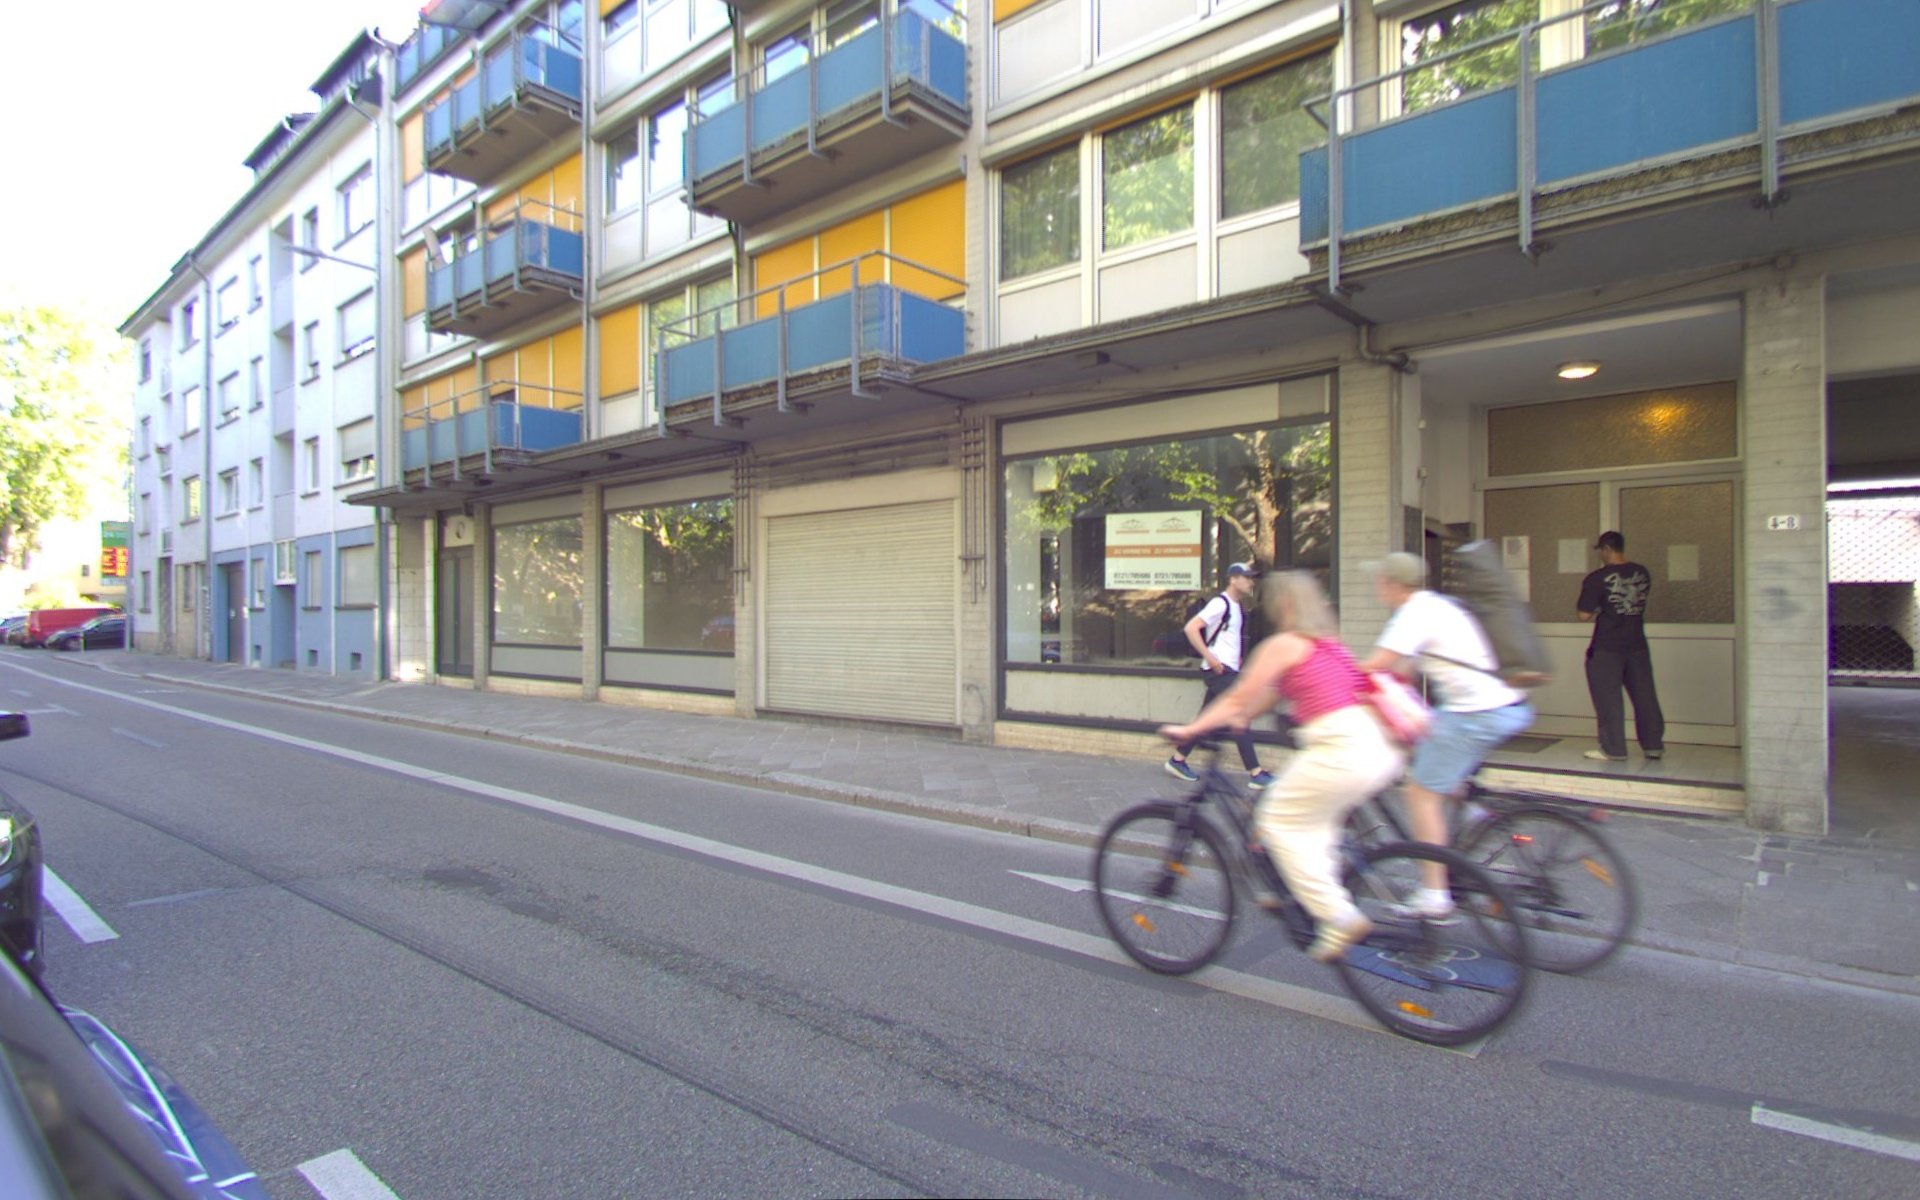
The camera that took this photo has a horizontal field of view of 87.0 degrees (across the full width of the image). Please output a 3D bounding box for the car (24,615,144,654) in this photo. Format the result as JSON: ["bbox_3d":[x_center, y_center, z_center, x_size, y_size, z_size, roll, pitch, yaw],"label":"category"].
[{"bbox_3d":[-41.627,1.615,48.162,1.999,1.703,4.093,-1,-1,41],"label":"car"}]

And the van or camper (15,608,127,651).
[{"bbox_3d":[-43.883,1.425,50.004,1.999,2.029,3.946,-1,-1,40],"label":"van or camper"}]

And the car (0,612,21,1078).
[{"bbox_3d":[-5.019,0.806,3.822,3.861,1.467,1.718,-1,-1,40],"label":"car"}]

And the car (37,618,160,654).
[{"bbox_3d":[-39.746,1.626,46.777,1.999,1.506,4.093,-1,-1,41],"label":"car"}]

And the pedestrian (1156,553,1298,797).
[{"bbox_3d":[2.116,0.560,8.041,0.879,1.813,0.593,-1,0,41],"label":"pedestrian"}]

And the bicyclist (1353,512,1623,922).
[{"bbox_3d":[2.331,0.452,4.467,0.839,1.566,0.833,-2,-1,43],"label":"bicyclist"}]

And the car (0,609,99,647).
[{"bbox_3d":[-55.397,1.666,61.145,1.999,2.210,4.927,-1,-1,41],"label":"car"}]

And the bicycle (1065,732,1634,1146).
[{"bbox_3d":[1.307,1.066,3.757,0.685,0.936,1.866,0,-1,-40],"label":"bicycle"}]

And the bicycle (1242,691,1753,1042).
[{"bbox_3d":[2.306,1.018,4.494,1.836,1.087,0.853,-1,-1,43],"label":"bicycle"}]

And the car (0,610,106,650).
[{"bbox_3d":[-53.309,1.731,59.194,1.999,2.210,4.927,-1,-1,41],"label":"car"}]

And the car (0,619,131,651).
[{"bbox_3d":[-45.716,1.745,51.696,1.999,1.506,4.927,-1,-1,41],"label":"car"}]

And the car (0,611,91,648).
[{"bbox_3d":[-57.390,1.816,62.854,1.999,2.210,4.927,-1,-1,41],"label":"car"}]

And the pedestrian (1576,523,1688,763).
[{"bbox_3d":[5.096,0.312,7.697,0.660,1.726,0.542,-1,-1,34],"label":"pedestrian"}]

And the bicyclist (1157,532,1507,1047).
[{"bbox_3d":[1.340,0.591,3.724,0.676,1.590,0.983,0,-1,-41],"label":"bicyclist"}]
